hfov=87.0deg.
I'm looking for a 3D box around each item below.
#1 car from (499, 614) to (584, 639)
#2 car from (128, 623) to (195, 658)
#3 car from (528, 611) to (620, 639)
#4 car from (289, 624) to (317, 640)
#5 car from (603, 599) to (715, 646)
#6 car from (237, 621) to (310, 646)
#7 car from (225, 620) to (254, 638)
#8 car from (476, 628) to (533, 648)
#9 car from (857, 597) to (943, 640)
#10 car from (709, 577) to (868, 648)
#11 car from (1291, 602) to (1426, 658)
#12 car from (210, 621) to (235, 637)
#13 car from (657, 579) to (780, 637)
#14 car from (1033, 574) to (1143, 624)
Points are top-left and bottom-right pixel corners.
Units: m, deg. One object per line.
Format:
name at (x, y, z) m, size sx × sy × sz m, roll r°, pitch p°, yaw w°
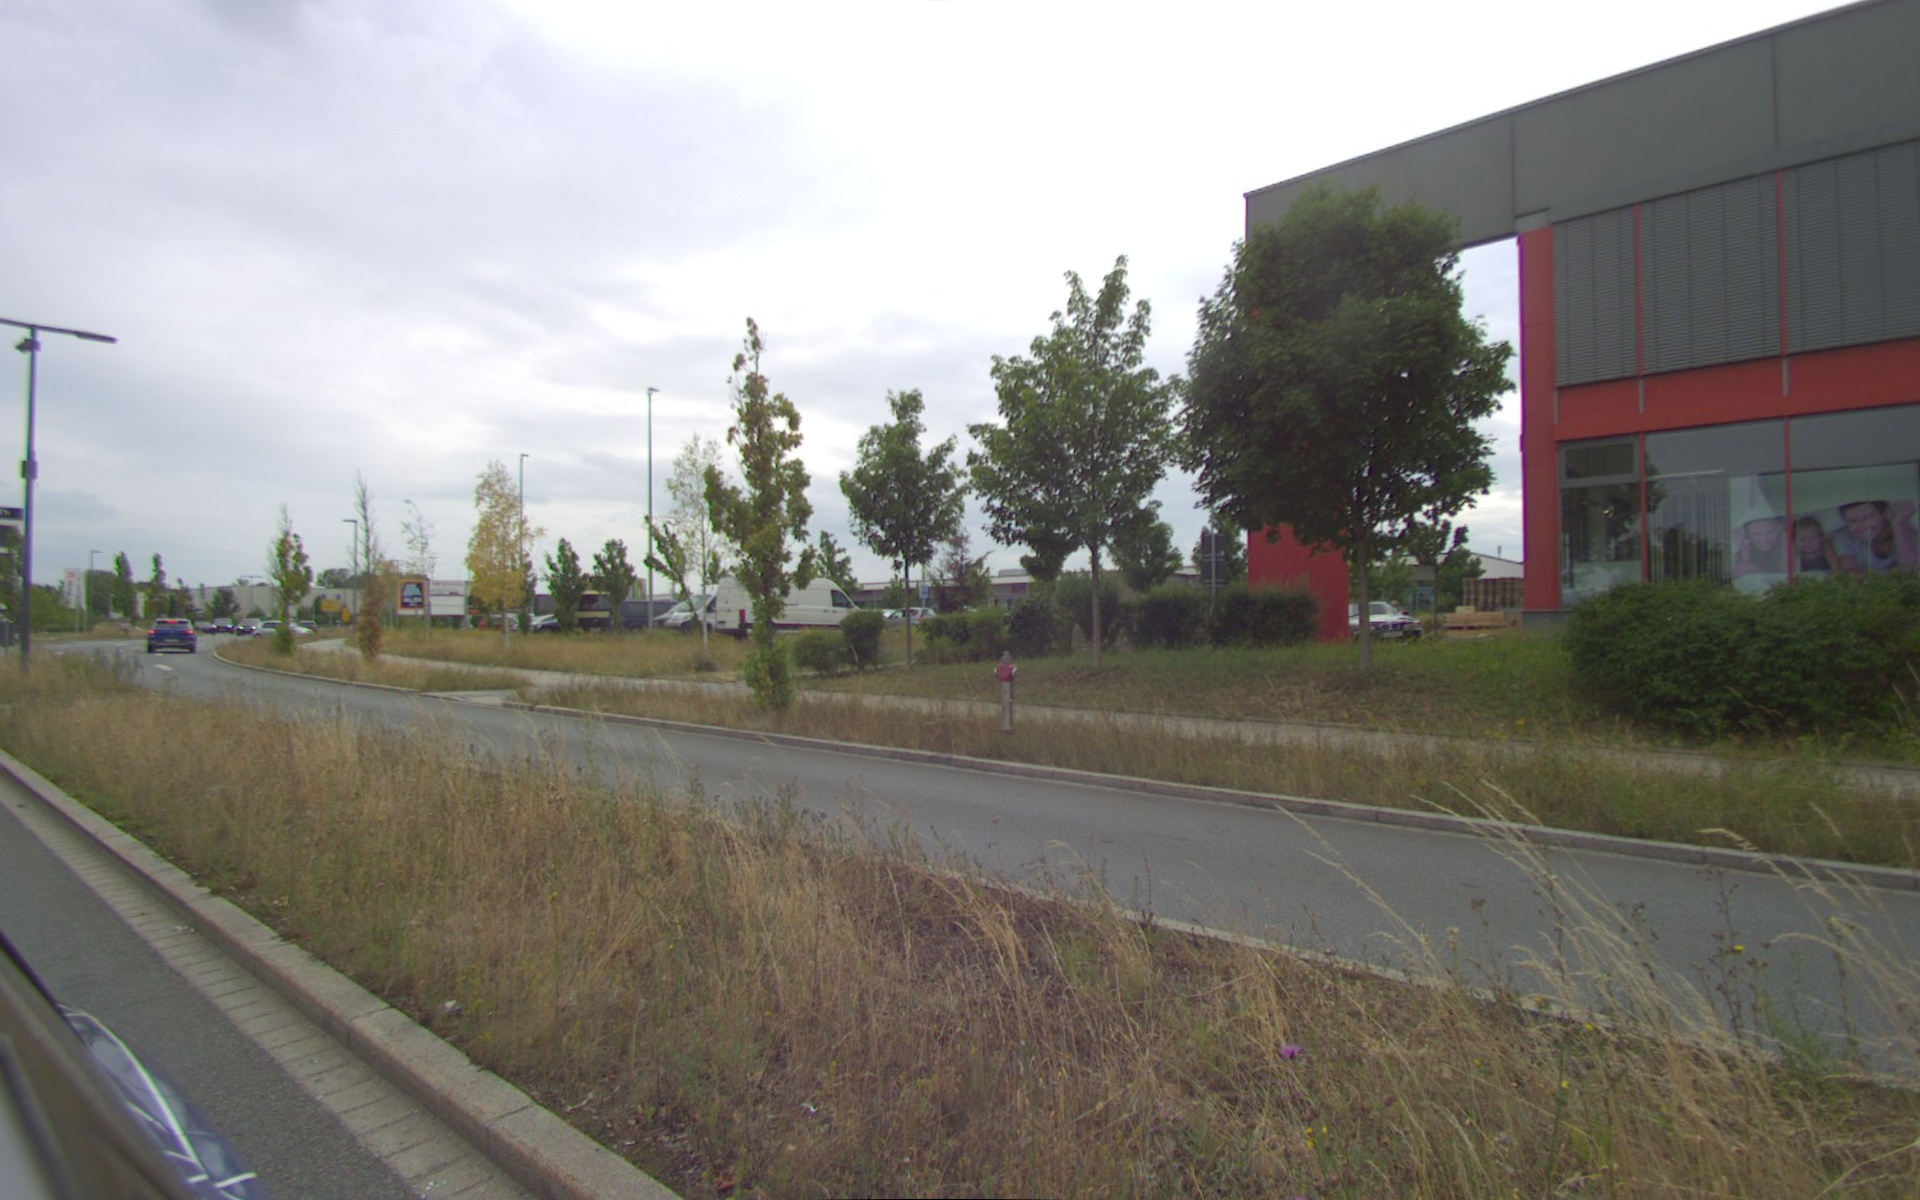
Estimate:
car at (-28.646, 1.837, 69.326) m, size 4.976 × 1.669 × 2.068 m, roll 1°, pitch -2°, yaw -39°
car at (-36.808, 1.861, 46.649) m, size 3.998 × 1.524 × 1.711 m, roll -2°, pitch -3°, yaw 41°
car at (-24.033, 1.574, 63.174) m, size 4.976 × 1.669 × 2.068 m, roll 1°, pitch -2°, yaw -39°
car at (-63.012, 3.091, 97.059) m, size 1.704 × 1.504 × 4.013 m, roll 1°, pitch -2°, yaw -25°
car at (-15.033, 1.142, 50.664) m, size 4.979 × 2.240 × 2.067 m, roll 2°, pitch -3°, yaw -42°
car at (-49.960, 2.411, 73.750) m, size 3.938 × 1.683 × 2.003 m, roll -2°, pitch -1°, yaw -6°
car at (-66.145, 2.650, 93.000) m, size 1.966 × 1.586 × 4.011 m, roll 0°, pitch 0°, yaw -33°
car at (-35.351, 2.935, 78.658) m, size 3.931 × 1.475 × 1.742 m, roll -1°, pitch 0°, yaw -21°
car at (-3.539, 1.072, 58.993) m, size 5.055 × 2.391 × 2.036 m, roll -1°, pitch 0°, yaw 42°
car at (-6.828, 0.464, 40.915) m, size 2.066 × 2.644 × 6.326 m, roll -1°, pitch 0°, yaw 45°
car at (9.798, 0.706, 24.960) m, size 2.860 × 1.280 × 1.245 m, roll -1°, pitch 0°, yaw 42°
car at (-77.008, 3.002, 105.680) m, size 1.968 × 1.586 × 4.008 m, roll 0°, pitch 0°, yaw -38°
car at (-10.477, 0.335, 44.235) m, size 2.064 × 2.391 × 4.988 m, roll -1°, pitch 0°, yaw 41°
car at (6.313, -0.024, 50.126) m, size 5.049 × 2.391 × 2.039 m, roll -1°, pitch 0°, yaw 37°
